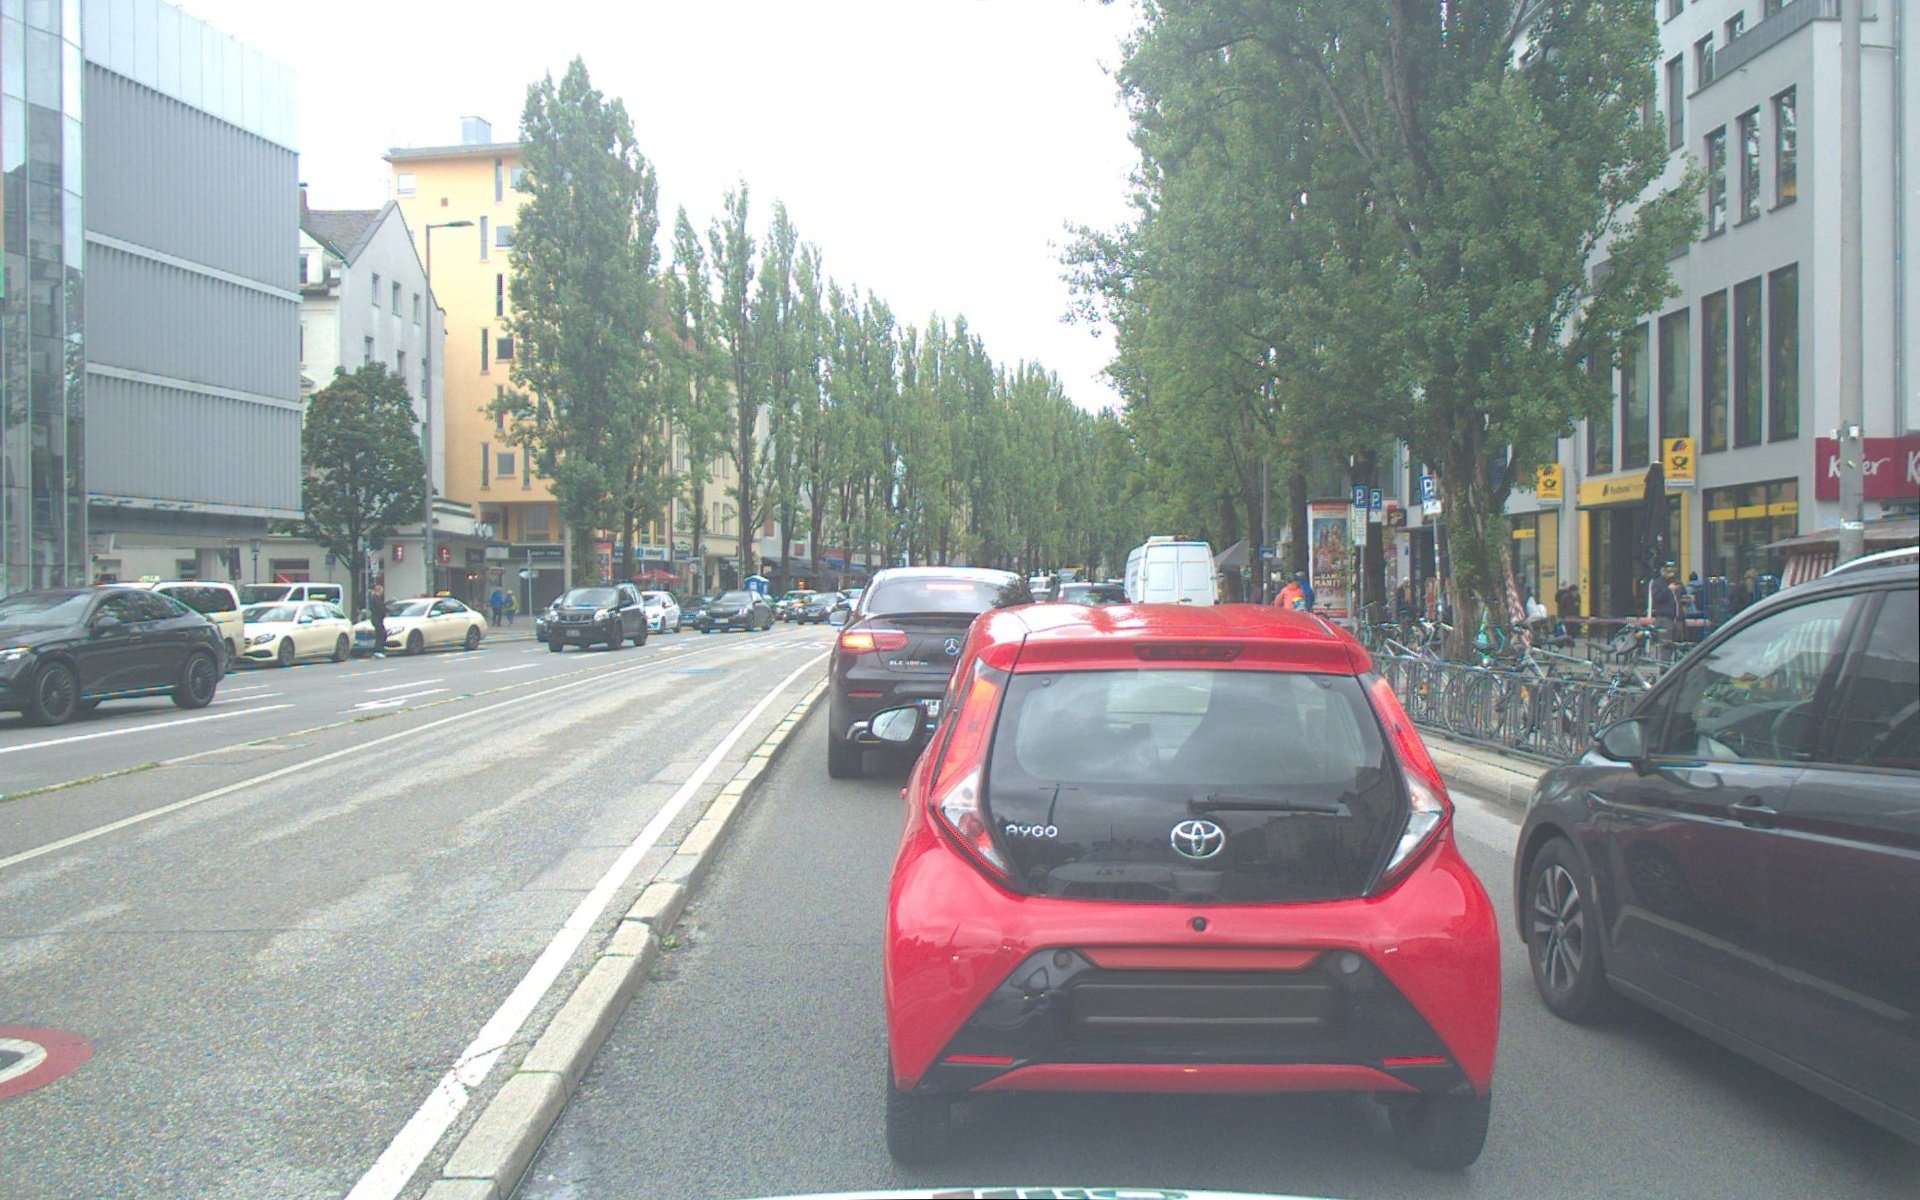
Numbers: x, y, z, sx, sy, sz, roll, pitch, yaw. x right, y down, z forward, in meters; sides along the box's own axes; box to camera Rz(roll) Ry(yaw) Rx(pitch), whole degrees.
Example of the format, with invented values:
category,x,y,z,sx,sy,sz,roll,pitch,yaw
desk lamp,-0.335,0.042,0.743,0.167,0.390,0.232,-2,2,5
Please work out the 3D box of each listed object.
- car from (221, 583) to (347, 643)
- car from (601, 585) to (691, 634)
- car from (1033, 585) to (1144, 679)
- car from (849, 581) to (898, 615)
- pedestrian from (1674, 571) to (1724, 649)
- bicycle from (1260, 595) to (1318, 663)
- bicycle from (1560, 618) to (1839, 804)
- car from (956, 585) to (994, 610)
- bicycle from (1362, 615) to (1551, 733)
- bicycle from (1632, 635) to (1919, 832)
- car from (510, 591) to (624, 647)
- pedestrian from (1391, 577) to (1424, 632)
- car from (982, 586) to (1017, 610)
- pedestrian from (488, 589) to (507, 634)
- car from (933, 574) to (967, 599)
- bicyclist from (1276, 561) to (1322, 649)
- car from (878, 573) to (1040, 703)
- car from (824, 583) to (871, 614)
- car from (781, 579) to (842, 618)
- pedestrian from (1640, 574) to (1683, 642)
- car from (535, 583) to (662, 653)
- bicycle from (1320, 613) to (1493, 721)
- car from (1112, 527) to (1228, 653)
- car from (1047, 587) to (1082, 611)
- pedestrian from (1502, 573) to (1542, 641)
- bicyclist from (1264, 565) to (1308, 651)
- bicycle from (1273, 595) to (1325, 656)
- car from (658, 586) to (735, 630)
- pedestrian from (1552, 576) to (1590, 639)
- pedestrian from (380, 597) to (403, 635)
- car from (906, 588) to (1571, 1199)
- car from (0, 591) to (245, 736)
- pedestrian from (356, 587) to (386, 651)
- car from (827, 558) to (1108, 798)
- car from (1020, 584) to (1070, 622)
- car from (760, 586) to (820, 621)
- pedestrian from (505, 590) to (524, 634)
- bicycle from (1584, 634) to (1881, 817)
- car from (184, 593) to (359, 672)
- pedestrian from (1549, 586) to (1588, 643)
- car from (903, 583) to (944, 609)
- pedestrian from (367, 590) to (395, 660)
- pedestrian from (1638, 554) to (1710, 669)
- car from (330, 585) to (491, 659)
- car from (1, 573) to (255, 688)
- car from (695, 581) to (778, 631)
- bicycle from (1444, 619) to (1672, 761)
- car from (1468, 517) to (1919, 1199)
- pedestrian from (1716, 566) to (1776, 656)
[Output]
category,x,y,z,sx,sy,sz,roll,pitch,yaw
car,-21.342,0.384,52.388,1.830,1.803,4.245,-1,0,7
car,-11.520,0.312,60.931,1.951,1.721,4.924,-1,1,5
car,2.305,0.538,30.447,1.668,1.617,3.555,-1,1,-2
car,-4.582,-0.138,88.271,1.951,1.721,4.924,-1,1,5
pedestrian,15.735,0.204,35.216,0.718,1.630,0.741,-1,0,-2
bicycle,6.544,0.556,33.019,0.601,1.287,2.519,-1,1,-1
bicycle,5.464,0.780,12.289,1.805,1.263,0.583,0,1,41
car,1.068,-0.197,117.834,1.951,1.721,4.418,-1,1,11
bicycle,5.171,0.743,17.271,1.800,1.156,0.584,0,0,35
bicycle,5.432,0.834,10.860,1.805,1.156,0.583,0,1,41
car,-12.446,0.561,52.705,1.951,1.637,4.537,-1,1,9
pedestrian,13.181,0.129,48.751,0.748,1.621,0.676,-1,0,-2
car,3.050,-0.187,125.484,1.951,1.721,4.418,-1,1,11
pedestrian,-21.355,0.521,76.393,0.673,2.032,0.765,0,0,-1
car,-0.792,-1.108,135.683,1.951,1.967,4.418,0,0,11
bicyclist,7.463,0.104,36.403,0.747,1.902,1.132,-1,0,-1
car,0.040,0.451,21.287,1.880,1.512,3.918,0,0,1
car,-6.429,-0.128,95.200,1.951,1.721,4.924,-1,1,5
car,-6.788,-0.111,76.223,1.951,1.721,4.924,-1,1,5
pedestrian,16.464,0.181,38.833,0.699,1.585,0.676,-1,0,-2
car,-9.343,0.416,43.128,1.952,1.721,4.923,0,0,4
bicycle,5.044,0.731,18.734,1.800,1.156,0.584,0,0,35
car,4.881,-0.247,39.127,2.064,2.766,4.803,-1,0,-1
car,6.857,-0.083,108.066,1.735,1.464,3.942,0,1,11
pedestrian,13.355,0.162,39.320,0.699,1.585,0.676,-1,0,-2
bicyclist,6.514,0.155,33.094,0.601,1.686,1.251,-1,0,-1
bicycle,7.469,0.538,36.533,0.601,1.287,2.519,-1,1,-1
car,-10.794,0.294,68.173,1.951,1.721,4.924,-1,1,5
pedestrian,15.585,0.188,42.165,0.699,1.585,0.676,-1,0,-2
pedestrian,-20.013,0.551,58.230,0.545,1.313,0.628,-1,0,9
car,0.644,0.714,5.481,1.572,1.487,3.129,0,0,-1
car,-11.037,0.692,20.466,1.951,1.561,4.591,-1,0,7
pedestrian,-17.175,0.556,48.234,0.545,1.849,0.628,0,0,9
car,-0.012,0.539,13.770,1.953,1.646,3.998,2,0,-2
car,3.342,0.083,65.540,1.665,1.451,3.496,-1,1,-2
car,-8.734,0.148,85.381,1.951,1.721,4.925,-1,1,7
pedestrian,-20.610,0.544,76.466,0.673,2.032,0.765,0,0,-1
bicycle,5.393,0.835,11.620,1.805,1.156,0.583,0,1,41
car,-15.669,0.699,37.923,1.952,1.684,4.534,0,0,2
pedestrian,14.203,0.334,38.619,0.625,1.329,0.676,-1,0,-2
car,-2.490,-0.308,114.604,1.951,1.721,4.418,-1,1,11
pedestrian,-14.438,0.619,41.241,0.614,1.727,0.692,-1,0,-21
pedestrian,11.168,0.170,25.902,0.774,1.758,0.763,-1,0,-2
car,-14.558,0.538,44.101,1.951,1.848,4.537,-1,1,14
car,-15.944,0.519,32.125,1.952,2.049,5.525,0,0,3
car,-8.112,0.176,60.514,1.951,1.721,4.924,-1,1,5
bicycle,5.244,0.760,14.543,1.800,1.156,0.584,0,0,35
car,3.070,0.643,4.507,1.736,1.675,4.706,0,1,-3
pedestrian,14.422,0.190,30.363,0.718,1.630,0.741,-1,0,-2
